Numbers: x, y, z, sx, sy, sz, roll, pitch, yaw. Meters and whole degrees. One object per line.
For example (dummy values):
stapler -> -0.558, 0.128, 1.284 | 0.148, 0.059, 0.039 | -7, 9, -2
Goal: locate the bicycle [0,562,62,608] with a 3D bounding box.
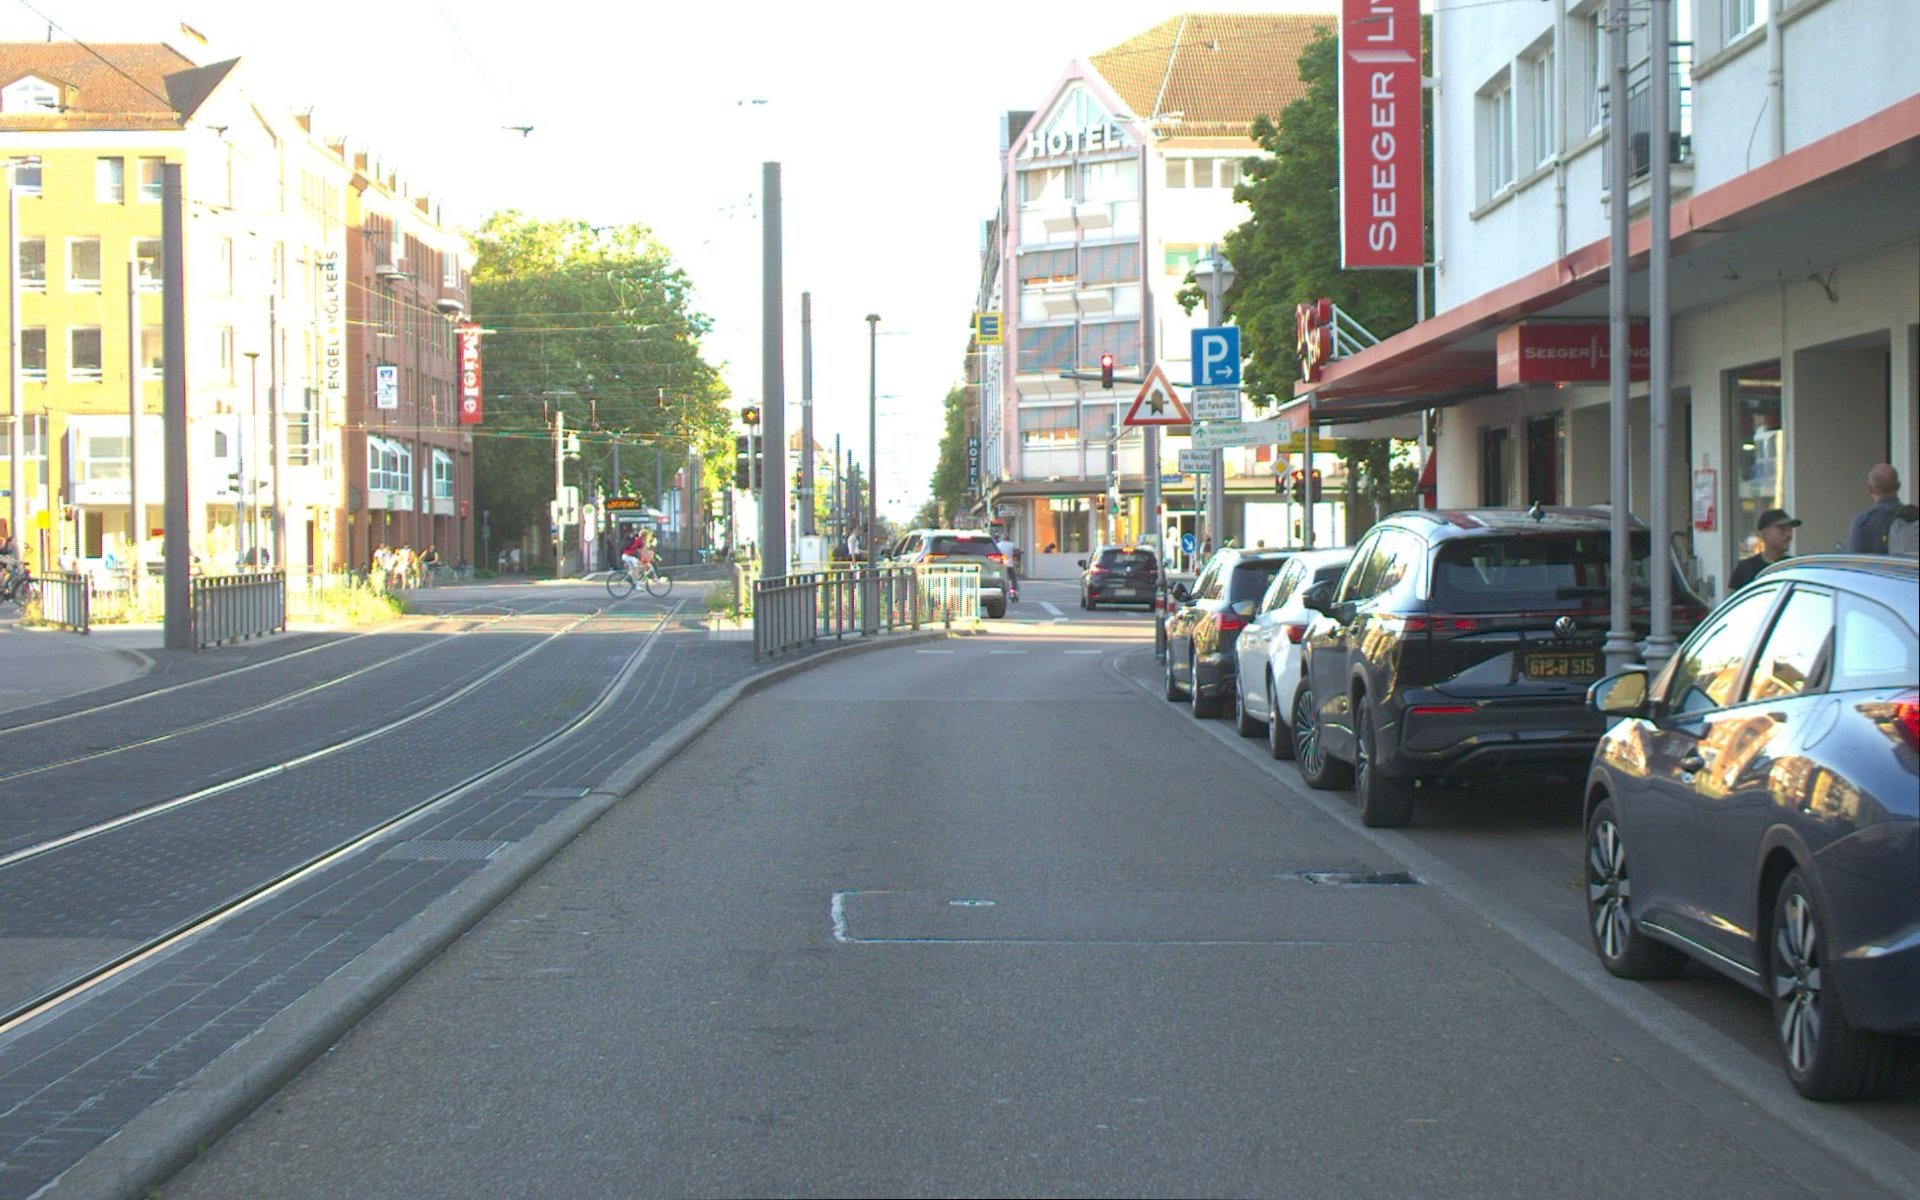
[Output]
bicycle -> -23.421, -0.382, 84.345 | 2.639, 1.096, 0.435 | 1, 0, -20

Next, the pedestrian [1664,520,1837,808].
pedestrian -> 4.419, 0.339, 19.274 | 0.733, 1.568, 0.967 | 0, 1, -1

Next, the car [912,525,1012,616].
car -> 0.060, -0.545, 66.030 | 1.835, 1.630, 4.090 | -2, -1, 1

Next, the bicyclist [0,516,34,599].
bicyclist -> -23.232, -1.046, 84.417 | 0.860, 2.007, 0.647 | 1, 0, -20

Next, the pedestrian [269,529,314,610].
pedestrian -> -11.486, -0.523, 59.085 | 0.663, 1.370, 0.652 | -1, 1, -3

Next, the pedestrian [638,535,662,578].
pedestrian -> -11.979, -1.684, 132.881 | 0.805, 1.658, 0.703 | 1, 0, 2

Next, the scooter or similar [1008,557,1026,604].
scooter or similar -> 1.325, -0.454, 79.563 | 0.279, 1.087, 1.257 | 1, 0, 6

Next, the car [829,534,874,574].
car -> -4.872, -2.049, 154.897 | 1.811, 1.740, 3.715 | 1, 1, 1

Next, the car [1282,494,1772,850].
car -> 2.968, 0.329, 18.944 | 1.856, 1.695, 4.418 | 1, 1, -1

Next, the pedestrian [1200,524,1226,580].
pedestrian -> 7.982, -1.513, 108.515 | 0.746, 1.772, 0.800 | 1, 0, 2

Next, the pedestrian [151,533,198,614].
pedestrian -> -13.474, -0.454, 58.971 | 0.663, 1.370, 0.652 | -1, 1, -3

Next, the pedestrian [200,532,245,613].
pedestrian -> -12.664, -0.471, 59.034 | 0.663, 1.370, 0.652 | 0, 1, -3

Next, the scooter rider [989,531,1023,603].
scooter rider -> 1.069, -0.763, 79.564 | 0.662, 1.641, 0.661 | 1, 0, 8

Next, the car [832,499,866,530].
car -> -7.115, -5.483, 221.311 | 1.993, 1.894, 4.000 | 1, 1, 0

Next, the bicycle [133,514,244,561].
bicycle -> -19.029, -1.536, 84.814 | 2.639, 1.096, 0.435 | 1, 0, -20

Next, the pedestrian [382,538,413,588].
pedestrian -> -22.696, -1.503, 138.750 | 1.093, 2.007, 0.909 | 1, 0, -3

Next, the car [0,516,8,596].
car -> -26.759, -1.095, 87.849 | 4.559, 2.030, 2.001 | -1, 1, -12

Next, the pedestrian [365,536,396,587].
pedestrian -> -23.172, -1.524, 137.446 | 1.093, 2.007, 0.909 | 1, 0, -3

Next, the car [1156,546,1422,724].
car -> 2.807, 0.261, 30.256 | 1.790, 1.408, 4.688 | 1, 1, -1

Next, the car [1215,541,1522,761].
car -> 2.859, 0.317, 24.837 | 1.651, 1.416, 4.191 | 1, 1, 0

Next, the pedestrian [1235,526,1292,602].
pedestrian -> 6.871, -0.816, 77.892 | 0.823, 1.679, 1.049 | 1, 0, -25

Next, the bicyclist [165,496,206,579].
bicyclist -> -19.109, -1.538, 84.813 | 0.860, 2.007, 0.647 | 1, 0, -21

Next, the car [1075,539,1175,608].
car -> 3.547, -0.591, 74.517 | 1.764, 1.435, 4.001 | -1, 1, -3

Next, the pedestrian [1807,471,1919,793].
pedestrian -> 5.590, 0.179, 20.554 | 0.774, 1.874, 0.935 | -1, 0, -2

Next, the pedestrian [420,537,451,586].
pedestrian -> -21.658, -1.593, 141.920 | 1.093, 2.007, 1.163 | 1, 0, -3

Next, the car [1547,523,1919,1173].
car -> 3.037, 0.554, 10.207 | 1.781, 1.517, 4.357 | 1, 1, 0
